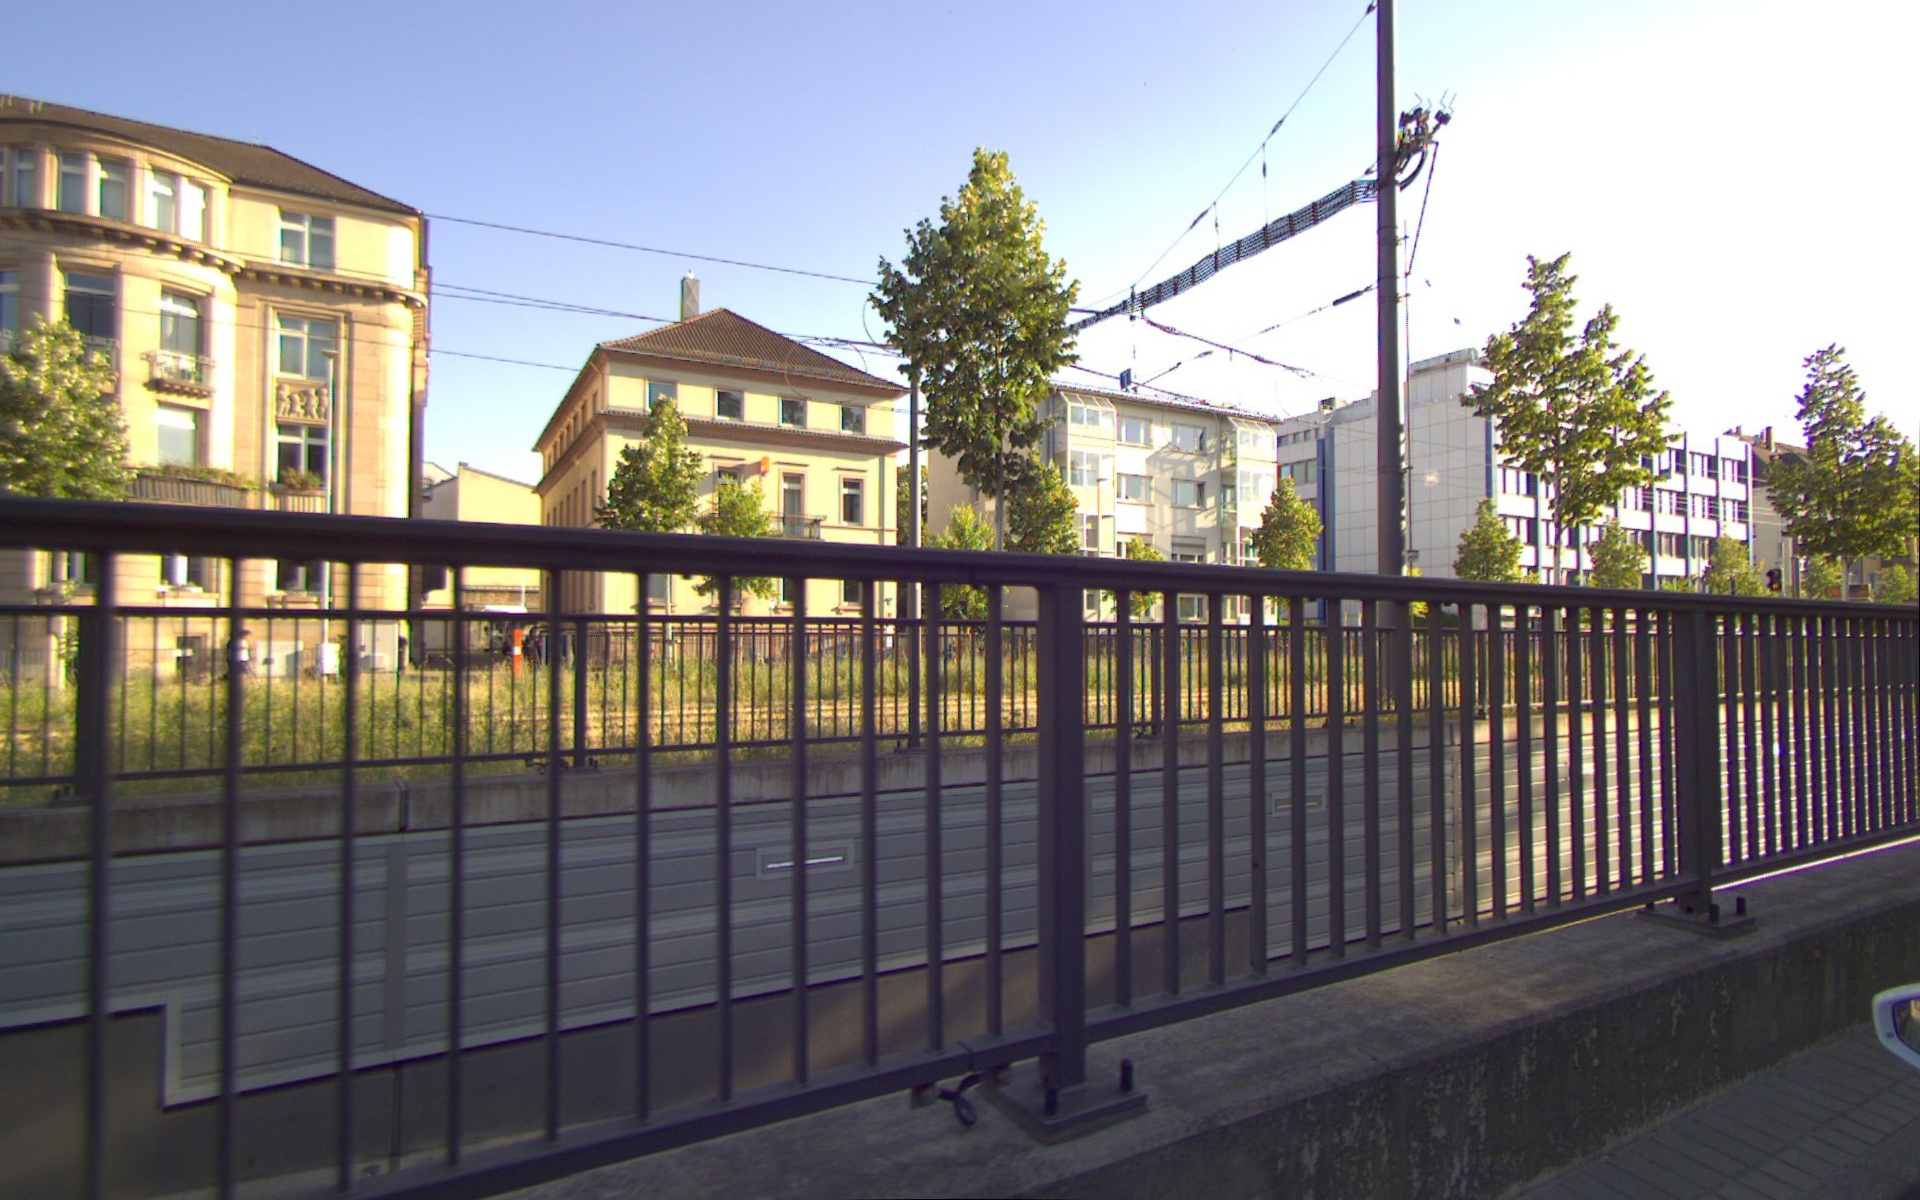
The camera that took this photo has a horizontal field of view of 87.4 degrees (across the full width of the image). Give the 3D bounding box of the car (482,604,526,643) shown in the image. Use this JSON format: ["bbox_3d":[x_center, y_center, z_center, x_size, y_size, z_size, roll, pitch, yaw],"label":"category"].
[{"bbox_3d":[-28.873,1.457,63.559,2.220,2.299,4.547,2,-1,-28],"label":"car"}]

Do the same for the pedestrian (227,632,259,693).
[{"bbox_3d":[-20.753,1.794,29.083,0.645,1.743,0.553,1,-2,-30],"label":"pedestrian"}]

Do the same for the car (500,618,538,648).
[{"bbox_3d":[-24.438,1.797,55.598,1.661,1.488,3.971,2,-1,-28],"label":"car"}]

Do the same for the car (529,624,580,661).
[{"bbox_3d":[-18.016,1.861,44.515,1.661,1.488,3.971,2,-1,-28],"label":"car"}]

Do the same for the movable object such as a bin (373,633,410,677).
[{"bbox_3d":[-19.198,1.853,33.942,1.067,1.447,1.200,1,-2,-30],"label":"movable object such as a bin"}]
